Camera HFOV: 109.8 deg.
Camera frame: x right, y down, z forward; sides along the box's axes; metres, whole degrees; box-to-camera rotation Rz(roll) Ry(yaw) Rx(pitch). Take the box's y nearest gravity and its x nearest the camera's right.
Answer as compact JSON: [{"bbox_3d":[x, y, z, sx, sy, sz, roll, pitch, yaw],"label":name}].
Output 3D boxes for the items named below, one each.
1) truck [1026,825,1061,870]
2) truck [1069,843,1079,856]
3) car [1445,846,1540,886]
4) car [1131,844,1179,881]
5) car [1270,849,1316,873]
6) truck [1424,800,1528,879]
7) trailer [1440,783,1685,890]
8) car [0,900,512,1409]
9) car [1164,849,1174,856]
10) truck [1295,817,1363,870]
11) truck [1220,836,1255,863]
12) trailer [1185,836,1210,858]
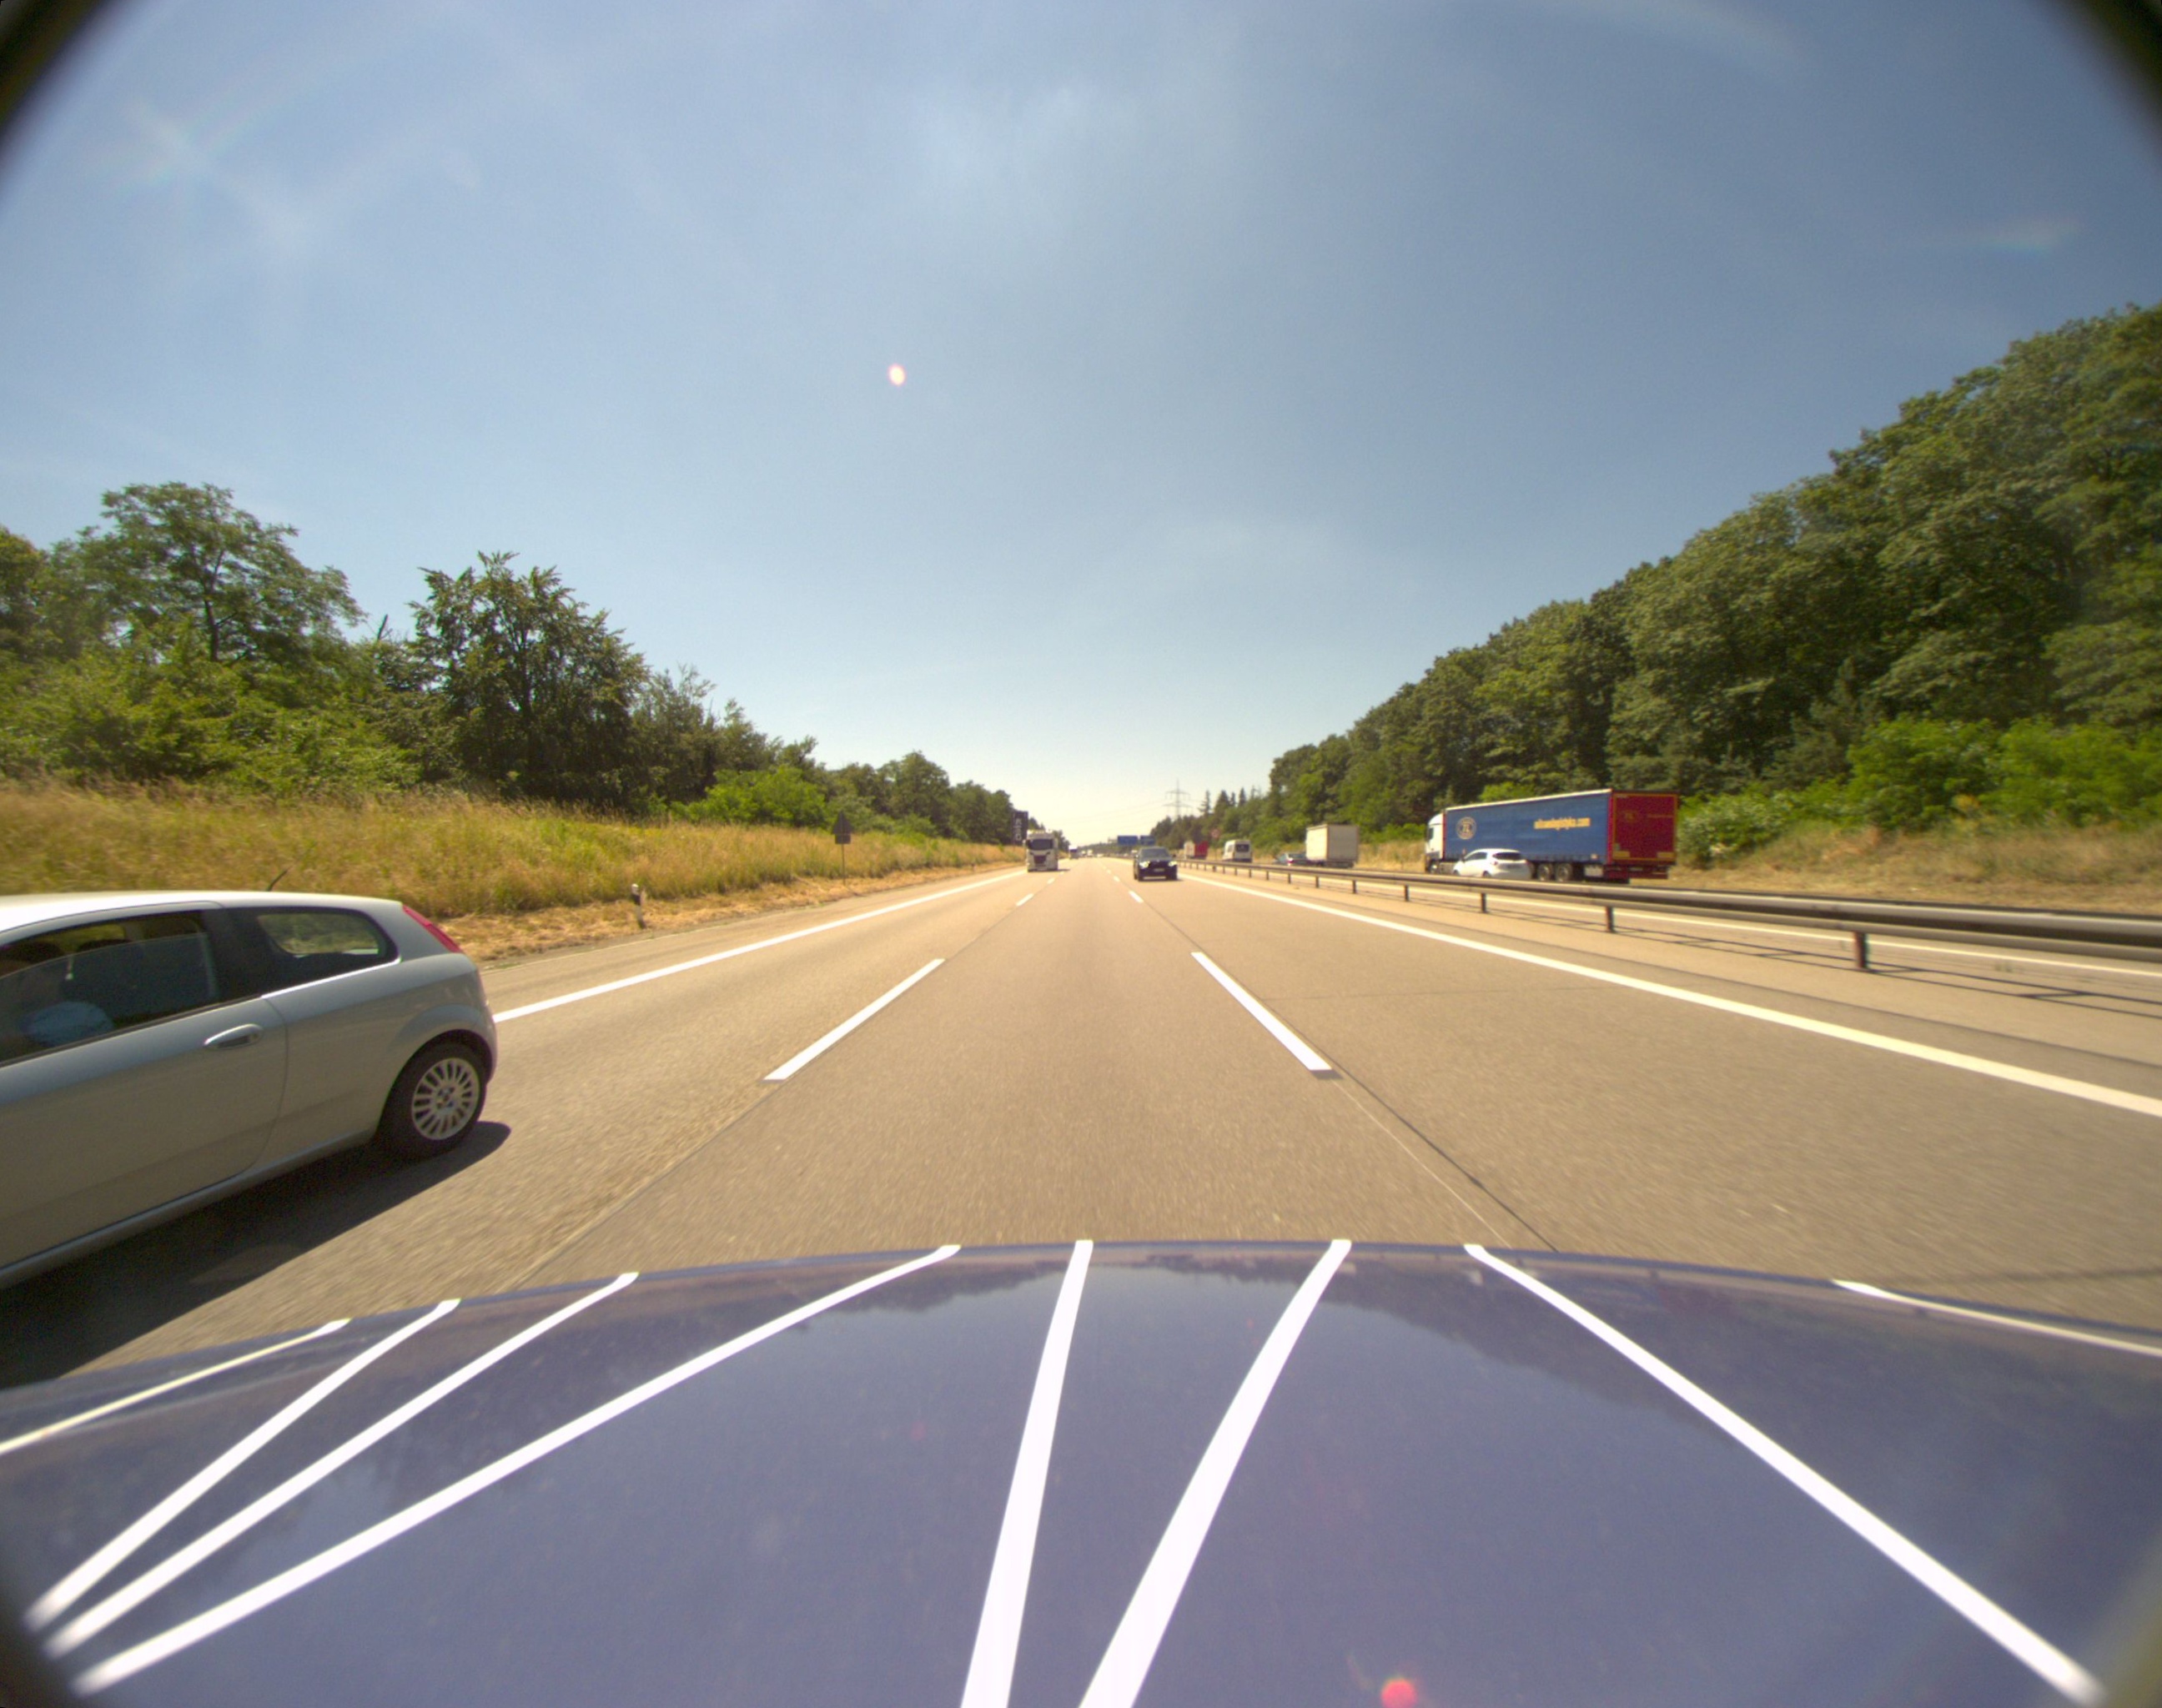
[{"bbox_3d":[-3.365,-0.585,69.589,2.605,3.811,5.969,-2,0,1],"label":"truck"},{"bbox_3d":[-2.062,-1.338,220.451,2.593,3.534,8.649,-2,0,1],"label":"truck"},{"bbox_3d":[17.494,0.458,32.567,1.608,1.550,4.469,2,1,1],"label":"car"},{"bbox_3d":[3.863,0.403,40.440,1.945,1.742,5.812,-2,0,0],"label":"car"},{"bbox_3d":[13.597,0.406,48.985,1.608,1.391,4.543,2,1,0],"label":"car"},{"bbox_3d":[21.598,-0.781,41.992,2.511,3.991,6.124,2,1,1],"label":"truck"},{"bbox_3d":[21.509,-0.719,35.777,2.511,3.991,14.366,2,1,1],"label":"trailer"},{"bbox_3d":[-4.311,1.057,2.497,1.749,1.457,3.980,-2,1,1],"label":"car"},{"bbox_3d":[20.851,-0.368,179.760,1.893,1.426,4.582,2,0,1],"label":"car"},{"bbox_3d":[18.458,-0.774,57.057,2.463,3.585,8.119,2,1,1],"label":"truck"},{"bbox_3d":[16.006,-0.493,78.337,2.088,2.608,8.030,2,1,1],"label":"truck"},{"bbox_3d":[23.644,-1.448,155.001,2.819,4.095,14.546,2,0,0],"label":"trailer"}]
